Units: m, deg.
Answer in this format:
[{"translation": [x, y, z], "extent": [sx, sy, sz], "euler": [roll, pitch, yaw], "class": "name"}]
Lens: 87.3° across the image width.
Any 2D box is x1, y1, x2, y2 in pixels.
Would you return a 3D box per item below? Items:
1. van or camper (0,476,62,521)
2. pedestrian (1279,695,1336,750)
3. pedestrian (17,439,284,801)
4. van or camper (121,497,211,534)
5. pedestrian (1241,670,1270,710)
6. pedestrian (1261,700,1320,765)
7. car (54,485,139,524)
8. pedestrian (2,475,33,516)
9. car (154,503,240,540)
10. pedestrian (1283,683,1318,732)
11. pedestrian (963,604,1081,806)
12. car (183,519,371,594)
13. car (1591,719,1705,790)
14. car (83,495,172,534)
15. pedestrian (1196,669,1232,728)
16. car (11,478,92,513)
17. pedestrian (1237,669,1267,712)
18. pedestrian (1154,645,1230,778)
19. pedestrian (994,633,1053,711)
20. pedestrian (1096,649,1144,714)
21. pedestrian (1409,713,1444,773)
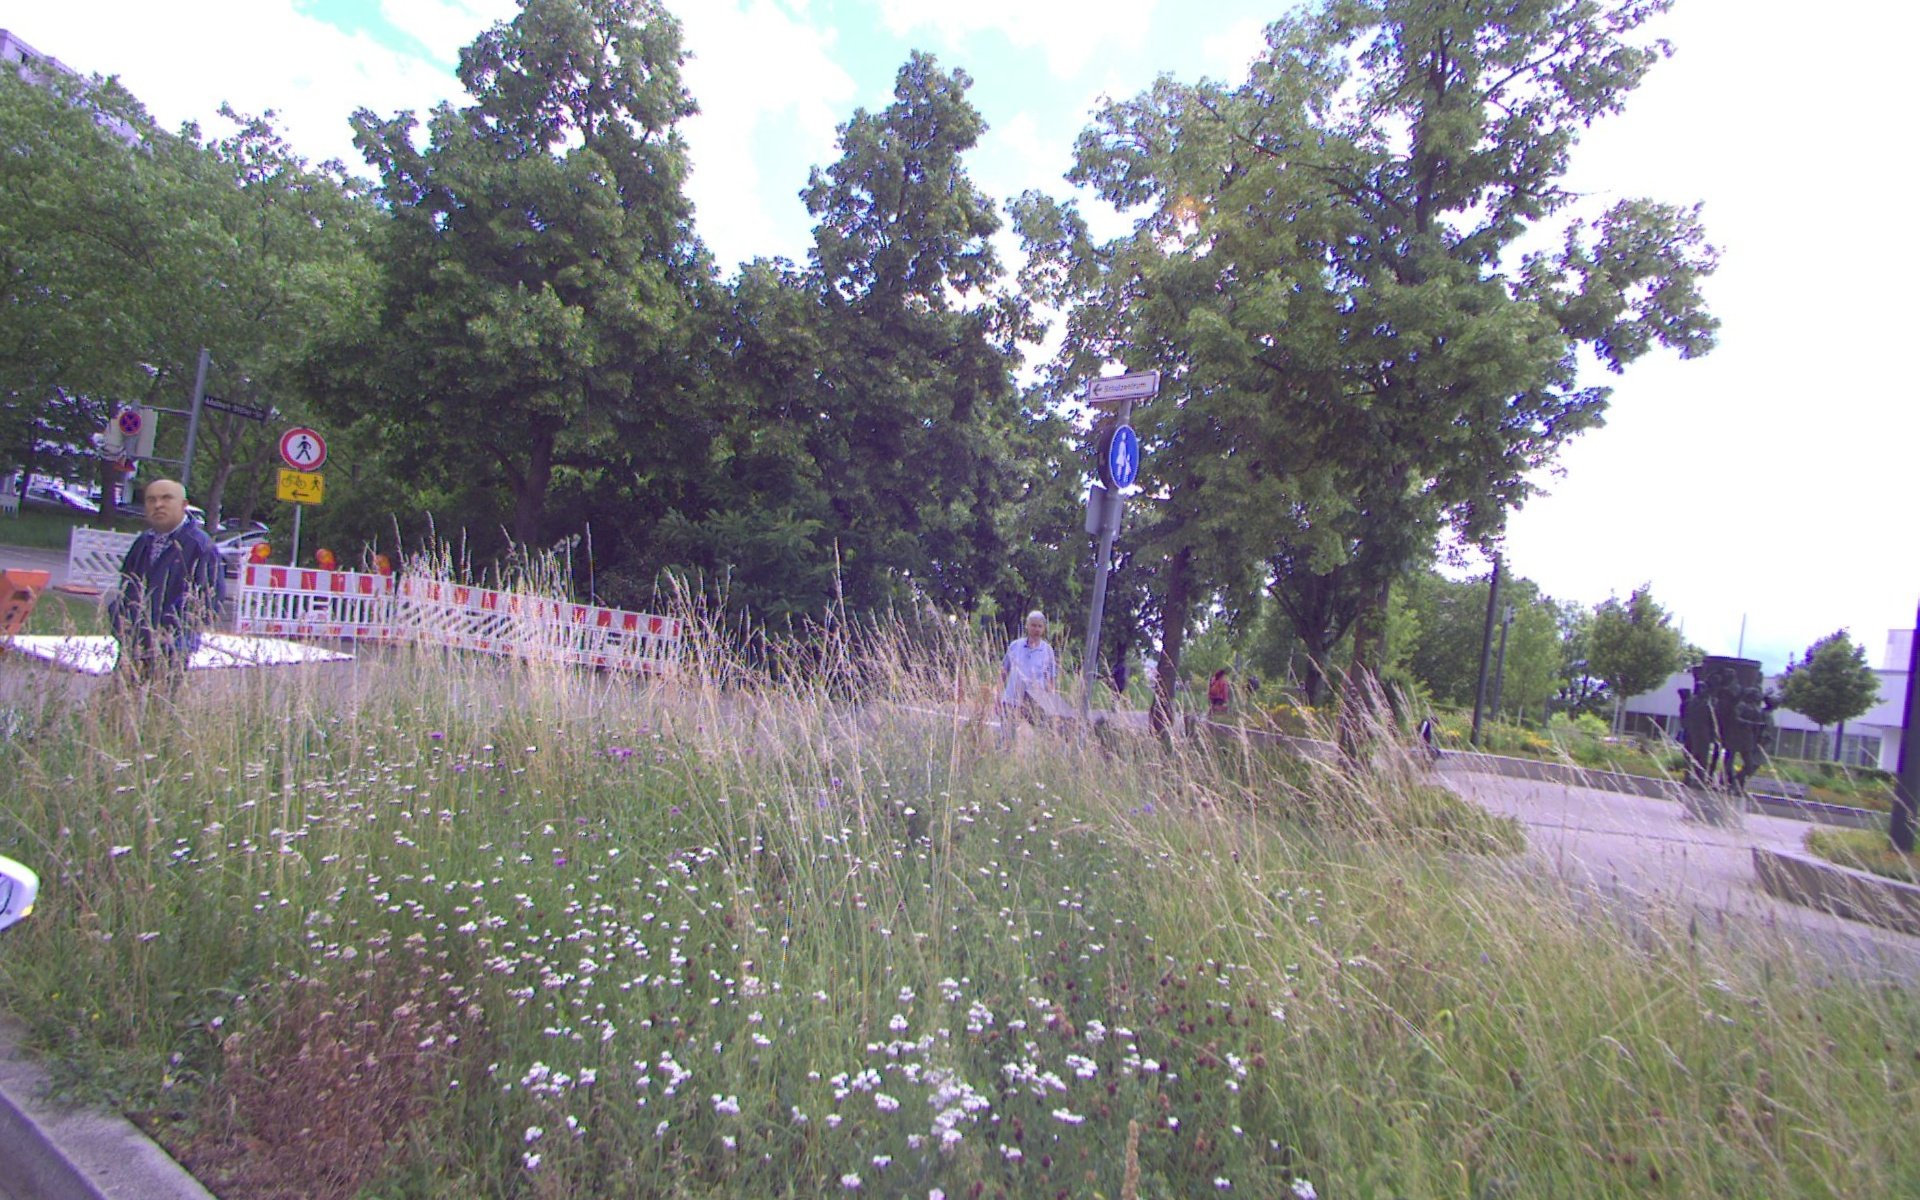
[{"translation": [-44.309, -4.848, 46.498], "extent": [3.925, 1.704, 1.847], "euler": [8, -1, 4], "class": "van or camper"}, {"translation": [7.156, 2.524, 20.750], "extent": [0.703, 0.959, 0.747], "euler": [8, -1, -21], "class": "pedestrian"}, {"translation": [-4.401, 0.115, 5.565], "extent": [0.718, 1.761, 0.951], "euler": [8, -1, -22], "class": "pedestrian"}, {"translation": [-44.558, -4.734, 56.492], "extent": [3.706, 1.372, 1.519], "euler": [8, -2, -1], "class": "van or camper"}, {"translation": [13.472, 4.116, 45.858], "extent": [0.974, 1.671, 0.871], "euler": [7, 0, 21], "class": "pedestrian"}, {"translation": [5.170, 2.056, 15.731], "extent": [0.685, 0.874, 0.651], "euler": [7, 0, 28], "class": "pedestrian"}, {"translation": [-54.464, -5.994, 63.458], "extent": [3.751, 1.653, 1.674], "euler": [9, -1, 1], "class": "car"}, {"translation": [-51.286, -5.673, 54.731], "extent": [0.838, 2.025, 0.806], "euler": [7, -1, 27], "class": "pedestrian"}, {"translation": [-44.638, -4.599, 58.897], "extent": [3.820, 1.482, 1.486], "euler": [7, -1, 1], "class": "car"}, {"translation": [12.596, 3.966, 37.205], "extent": [0.974, 1.671, 0.871], "euler": [7, 0, 21], "class": "pedestrian"}, {"translation": [0.610, 1.004, 9.839], "extent": [0.716, 1.812, 0.693], "euler": [8, 0, 27], "class": "pedestrian"}, {"translation": [-21.143, -1.298, 31.332], "extent": [1.744, 1.604, 4.405], "euler": [6, -2, 33], "class": "car"}, {"translation": [22.784, 5.079, 33.485], "extent": [1.606, 1.786, 3.509], "euler": [7, -2, 9], "class": "car"}, {"translation": [-43.773, -4.495, 52.940], "extent": [3.345, 1.420, 1.486], "euler": [7, -2, 2], "class": "car"}, {"translation": [6.957, 2.692, 27.544], "extent": [0.624, 1.519, 0.704], "euler": [7, 0, 29], "class": "pedestrian"}, {"translation": [-54.444, -6.252, 60.325], "extent": [3.345, 1.420, 1.486], "euler": [7, -2, 1], "class": "car"}, {"translation": [12.461, 3.866, 42.921], "extent": [0.974, 1.671, 0.871], "euler": [7, 0, 21], "class": "pedestrian"}, {"translation": [3.228, 1.533, 13.984], "extent": [0.685, 1.715, 0.651], "euler": [7, 0, 28], "class": "pedestrian"}, {"translation": [1.491, 1.671, 23.490], "extent": [0.974, 1.671, 0.871], "euler": [7, 0, 21], "class": "pedestrian"}, {"translation": [4.509, 2.286, 28.283], "extent": [0.974, 1.671, 0.871], "euler": [7, 0, 21], "class": "pedestrian"}, {"translation": [10.764, 3.290, 23.194], "extent": [0.560, 1.277, 0.582], "euler": [7, -1, 29], "class": "pedestrian"}]
